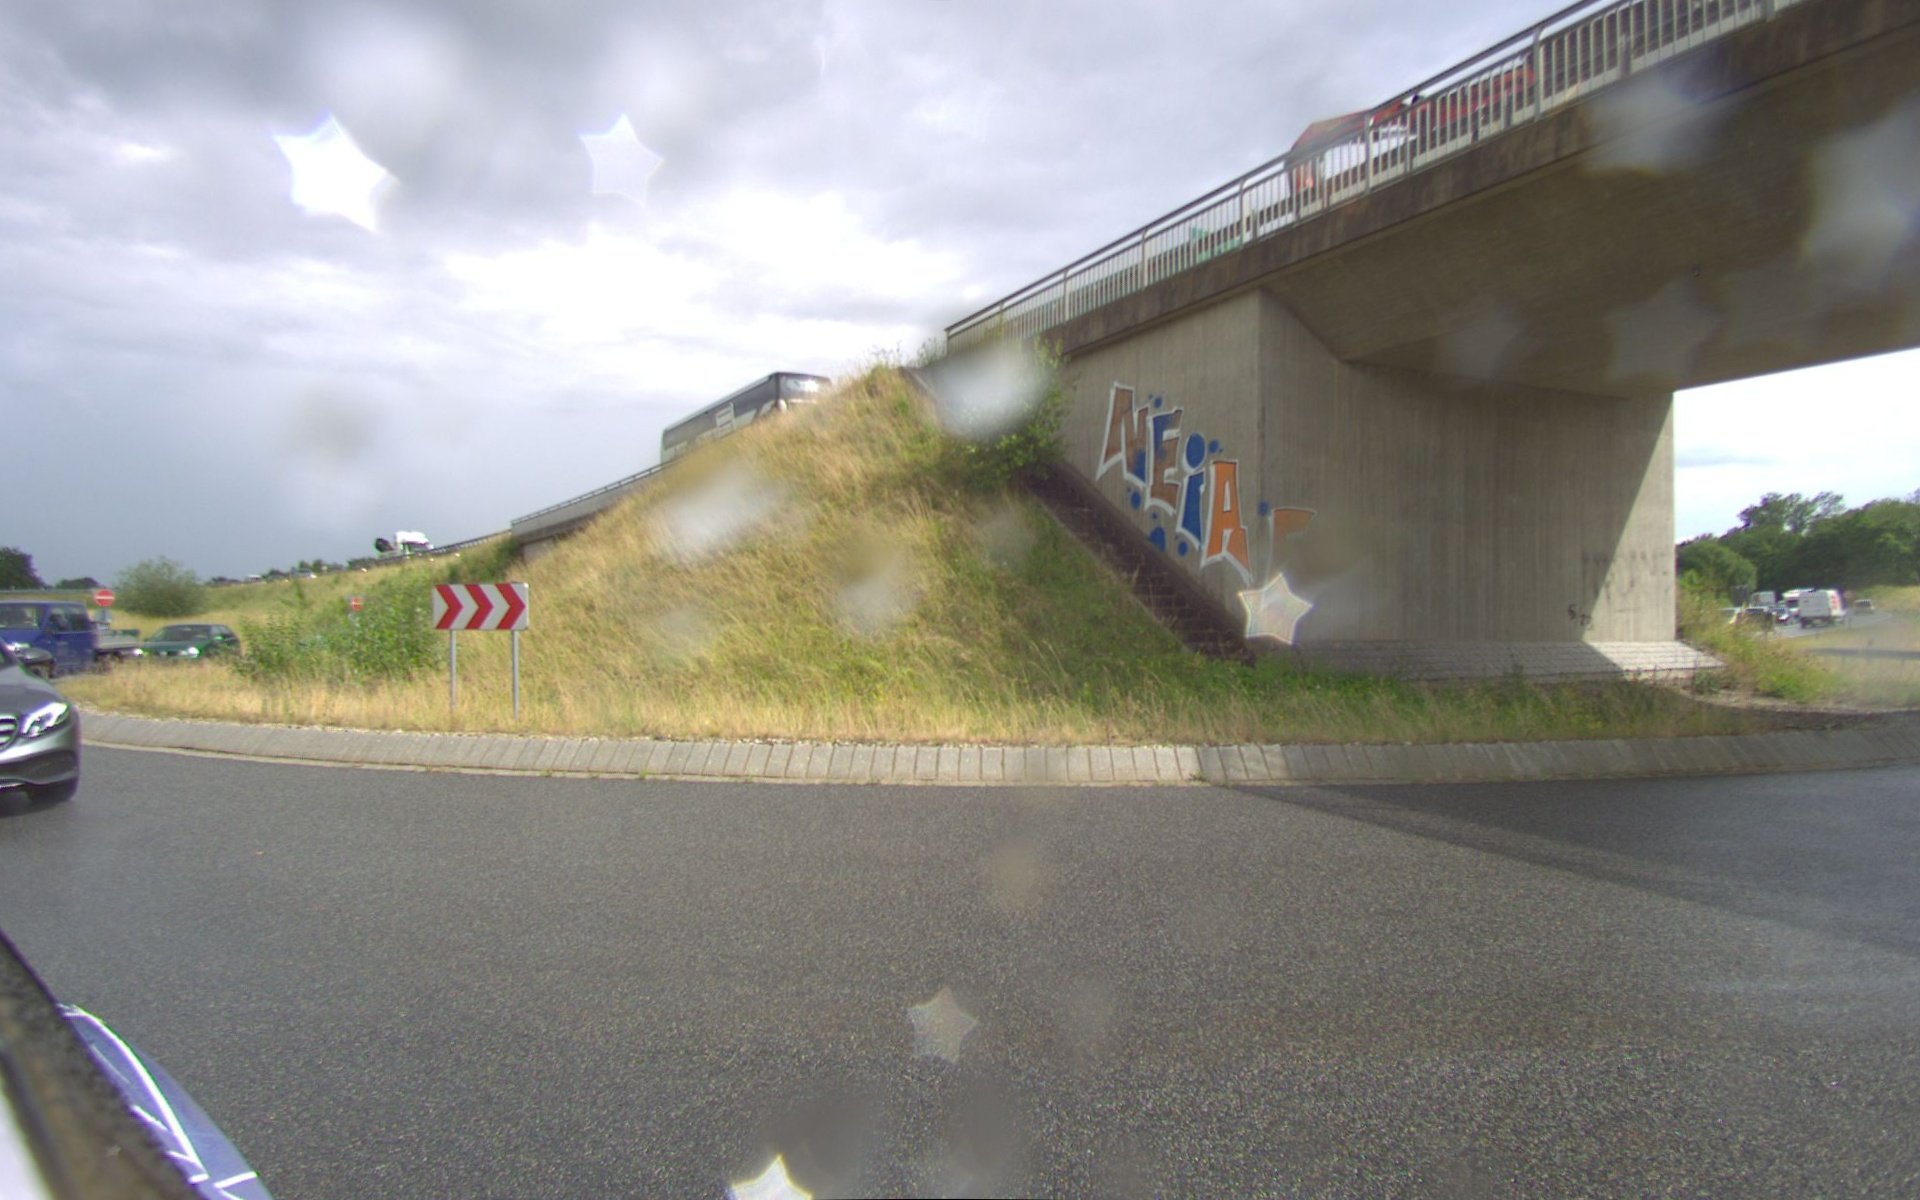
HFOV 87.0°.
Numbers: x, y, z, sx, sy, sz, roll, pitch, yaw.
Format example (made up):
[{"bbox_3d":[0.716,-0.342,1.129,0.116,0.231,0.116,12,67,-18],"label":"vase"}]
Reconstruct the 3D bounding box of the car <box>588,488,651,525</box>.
[{"bbox_3d":[-19.248,-5.258,57.093,1.688,1.536,4.502,-12,7,-38],"label":"car"}]

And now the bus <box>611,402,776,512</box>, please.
[{"bbox_3d":[-12.993,-6.390,47.739,2.570,3.103,14.499,0,-1,-36],"label":"bus"}]

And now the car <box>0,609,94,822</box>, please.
[{"bbox_3d":[-8.435,0.847,7.684,4.580,1.402,1.750,-3,-3,35],"label":"car"}]

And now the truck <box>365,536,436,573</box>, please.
[{"bbox_3d":[-56.933,-4.525,102.914,9.270,3.218,3.119,-1,-1,40],"label":"truck"}]

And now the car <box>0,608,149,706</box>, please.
[{"bbox_3d":[-20.935,1.199,23.165,1.861,1.929,5.700,-1,1,-19],"label":"car"}]

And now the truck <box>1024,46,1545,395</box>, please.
[{"bbox_3d":[5.359,-6.585,19.927,2.170,2.895,10.855,0,-1,-33],"label":"truck"}]

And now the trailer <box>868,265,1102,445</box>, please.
[{"bbox_3d":[0.346,-6.391,27.881,2.150,2.893,8.355,0,-1,-32],"label":"trailer"}]

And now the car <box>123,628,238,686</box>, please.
[{"bbox_3d":[-21.741,1.565,28.376,1.744,1.496,3.846,1,-3,-26],"label":"car"}]
